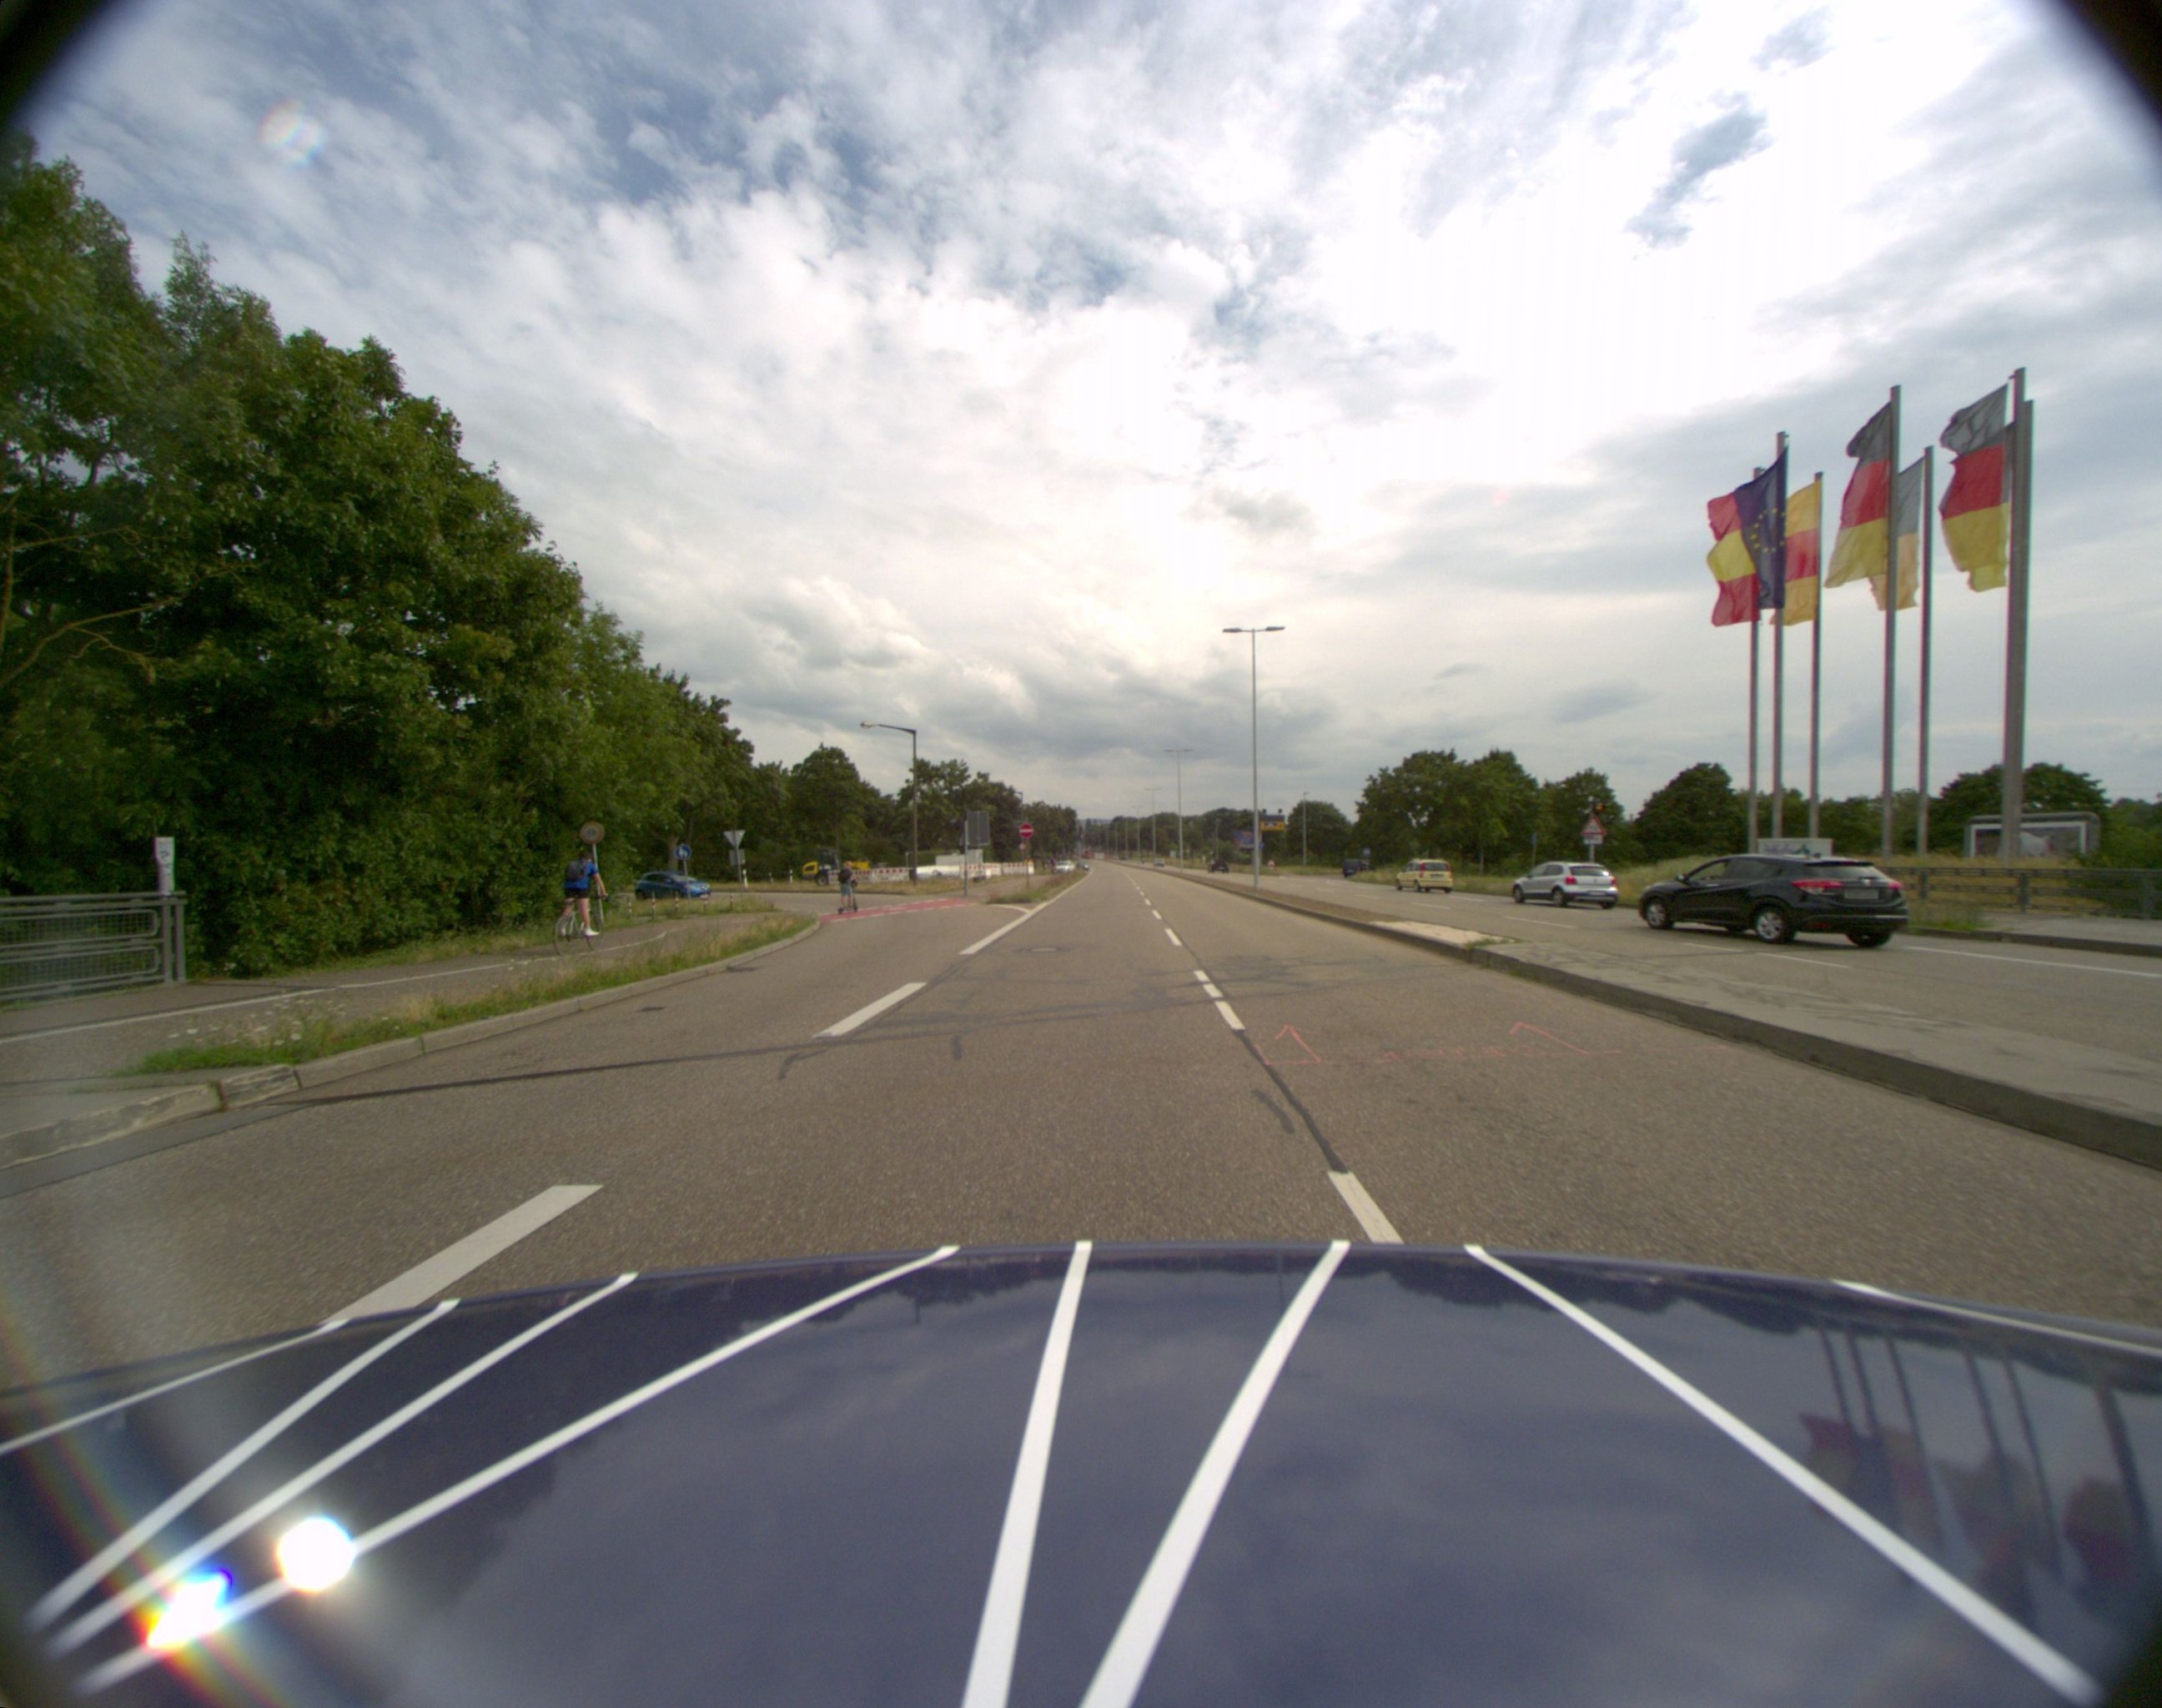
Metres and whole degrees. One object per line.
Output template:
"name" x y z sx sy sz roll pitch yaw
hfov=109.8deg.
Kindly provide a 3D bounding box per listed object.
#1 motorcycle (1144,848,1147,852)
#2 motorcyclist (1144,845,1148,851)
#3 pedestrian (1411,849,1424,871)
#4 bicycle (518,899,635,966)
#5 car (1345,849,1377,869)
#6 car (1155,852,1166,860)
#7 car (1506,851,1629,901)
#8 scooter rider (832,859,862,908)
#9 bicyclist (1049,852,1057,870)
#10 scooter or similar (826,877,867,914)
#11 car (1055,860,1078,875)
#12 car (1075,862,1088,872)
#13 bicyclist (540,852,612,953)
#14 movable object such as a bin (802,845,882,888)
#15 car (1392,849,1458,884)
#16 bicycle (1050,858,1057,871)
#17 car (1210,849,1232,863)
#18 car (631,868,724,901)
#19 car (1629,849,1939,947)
"motorcycle" 16.147 -1.087 189.156 0.524 0.961 2.220 0 0 1
"motorcyclist" 16.160 -1.563 189.250 0.772 1.579 0.896 1 0 1
"pedestrian" 26.491 0.487 59.865 0.866 1.683 0.680 1 0 30
"bicycle" -8.600 1.303 13.060 0.578 1.015 1.977 2 -2 2
"car" 28.827 0.530 78.227 1.847 1.882 5.517 2 0 33
"car" 16.106 0.380 153.691 1.851 1.592 4.561 0 0 1
"car" 15.981 0.671 25.212 1.653 1.507 4.017 1 0 4
"scooter rider" -8.234 1.039 26.794 0.587 1.681 0.745 -1 1 39
"bicyclist" -2.564 0.655 69.793 0.653 1.648 0.876 -2 1 -1
"scooter or similar" -8.249 1.441 26.772 0.588 1.217 1.205 -1 1 39
"car" -1.686 1.548 88.640 1.850 1.493 4.002 -3 0 9
"car" 0.066 1.921 111.557 1.773 1.439 4.323 -1 0 -2
"bicyclist" -8.616 0.822 12.997 0.666 1.649 0.806 -2 -2 2
"movable object such as a bin" -15.923 0.799 50.683 4.510 2.674 2.102 -2 1 7
"car" 16.301 0.562 36.184 1.552 1.568 3.691 1 0 2
"bicycle" -2.553 0.985 69.850 0.575 1.141 1.982 0 0 0
"car" 15.065 0.185 81.816 1.767 1.432 4.178 1 0 2
"car" -20.702 1.546 38.989 3.992 1.509 1.882 -2 1 17
"car" 12.611 0.685 14.116 1.744 1.507 4.315 1 1 0
